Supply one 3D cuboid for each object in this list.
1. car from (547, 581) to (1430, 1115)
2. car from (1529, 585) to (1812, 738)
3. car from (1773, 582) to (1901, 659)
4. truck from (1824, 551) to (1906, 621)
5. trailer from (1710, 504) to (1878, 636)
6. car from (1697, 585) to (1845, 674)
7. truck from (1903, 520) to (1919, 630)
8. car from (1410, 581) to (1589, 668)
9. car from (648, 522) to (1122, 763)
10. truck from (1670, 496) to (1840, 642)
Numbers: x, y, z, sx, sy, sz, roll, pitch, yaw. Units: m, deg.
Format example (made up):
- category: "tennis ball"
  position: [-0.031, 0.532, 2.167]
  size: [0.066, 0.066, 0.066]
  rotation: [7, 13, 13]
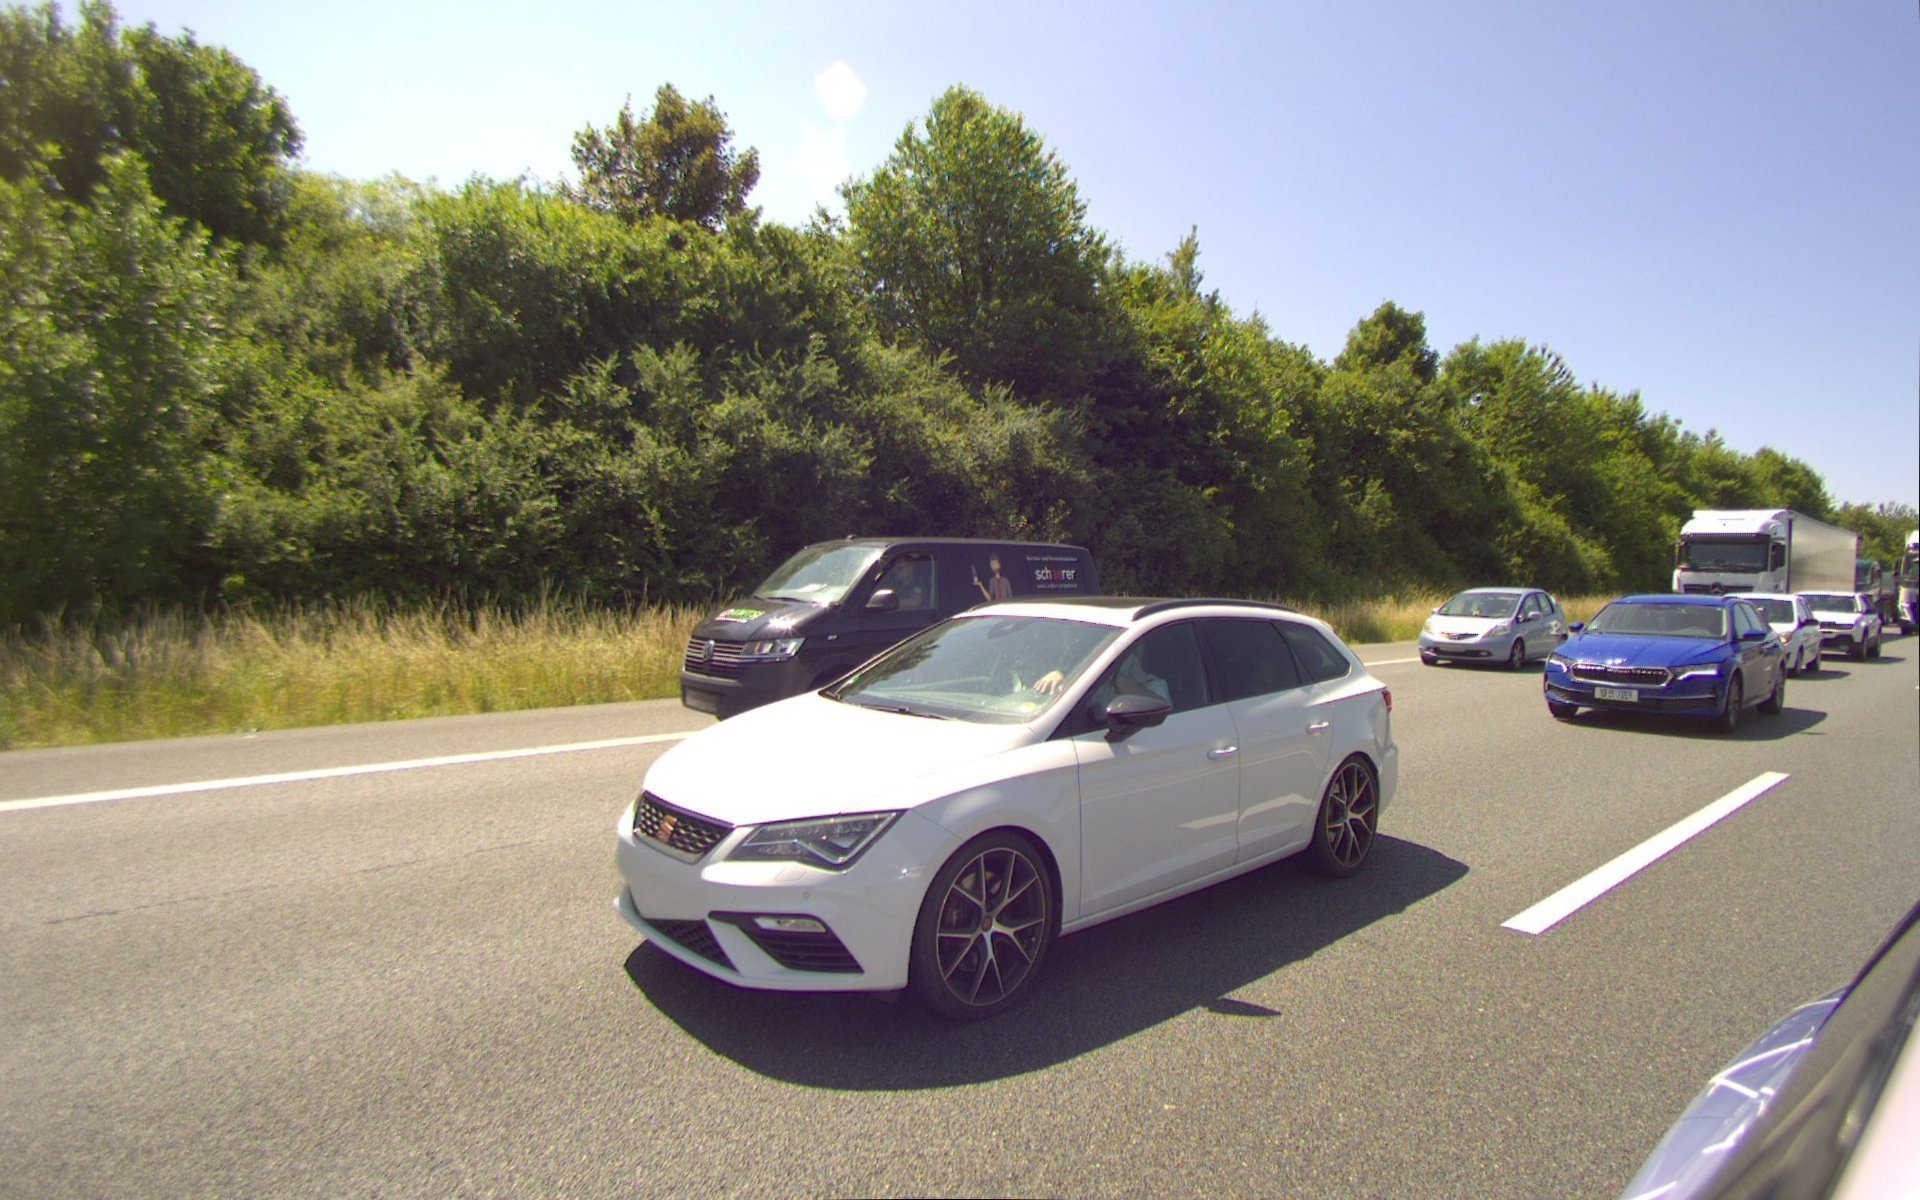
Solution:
- category: "car"
  position: [0.467, 0.654, 4.893]
  size: [4.239, 1.461, 1.750]
  rotation: [-1, 2, -42]
- category: "car"
  position: [8.628, 0.579, 12.127]
  size: [4.494, 1.434, 1.779]
  rotation: [-1, 2, -42]
- category: "car"
  position: [20.294, 0.395, 23.377]
  size: [3.818, 1.577, 1.747]
  rotation: [-1, 2, -42]
- category: "truck"
  position: [43.757, -0.669, 48.882]
  size: [5.576, 3.185, 2.298]
  rotation: [-1, 1, -41]
- category: "trailer"
  position: [30.930, -1.027, 37.252]
  size: [11.864, 4.209, 2.878]
  rotation: [-1, 1, -41]
- category: "car"
  position: [15.237, 0.472, 18.959]
  size: [3.746, 1.451, 1.607]
  rotation: [-1, 2, -43]
- category: "truck"
  position: [38.991, -0.963, 39.212]
  size: [8.215, 4.045, 2.748]
  rotation: [-1, 1, -41]
- category: "car"
  position: [10.423, 0.402, 19.461]
  size: [3.852, 1.479, 1.666]
  rotation: [0, 2, -39]
- category: "car"
  position: [-0.575, 0.285, 10.559]
  size: [4.773, 1.964, 1.917]
  rotation: [-1, 2, -42]
- category: "truck"
  position: [26.178, -0.959, 33.144]
  size: [8.327, 4.209, 2.878]
  rotation: [-1, 1, -41]
